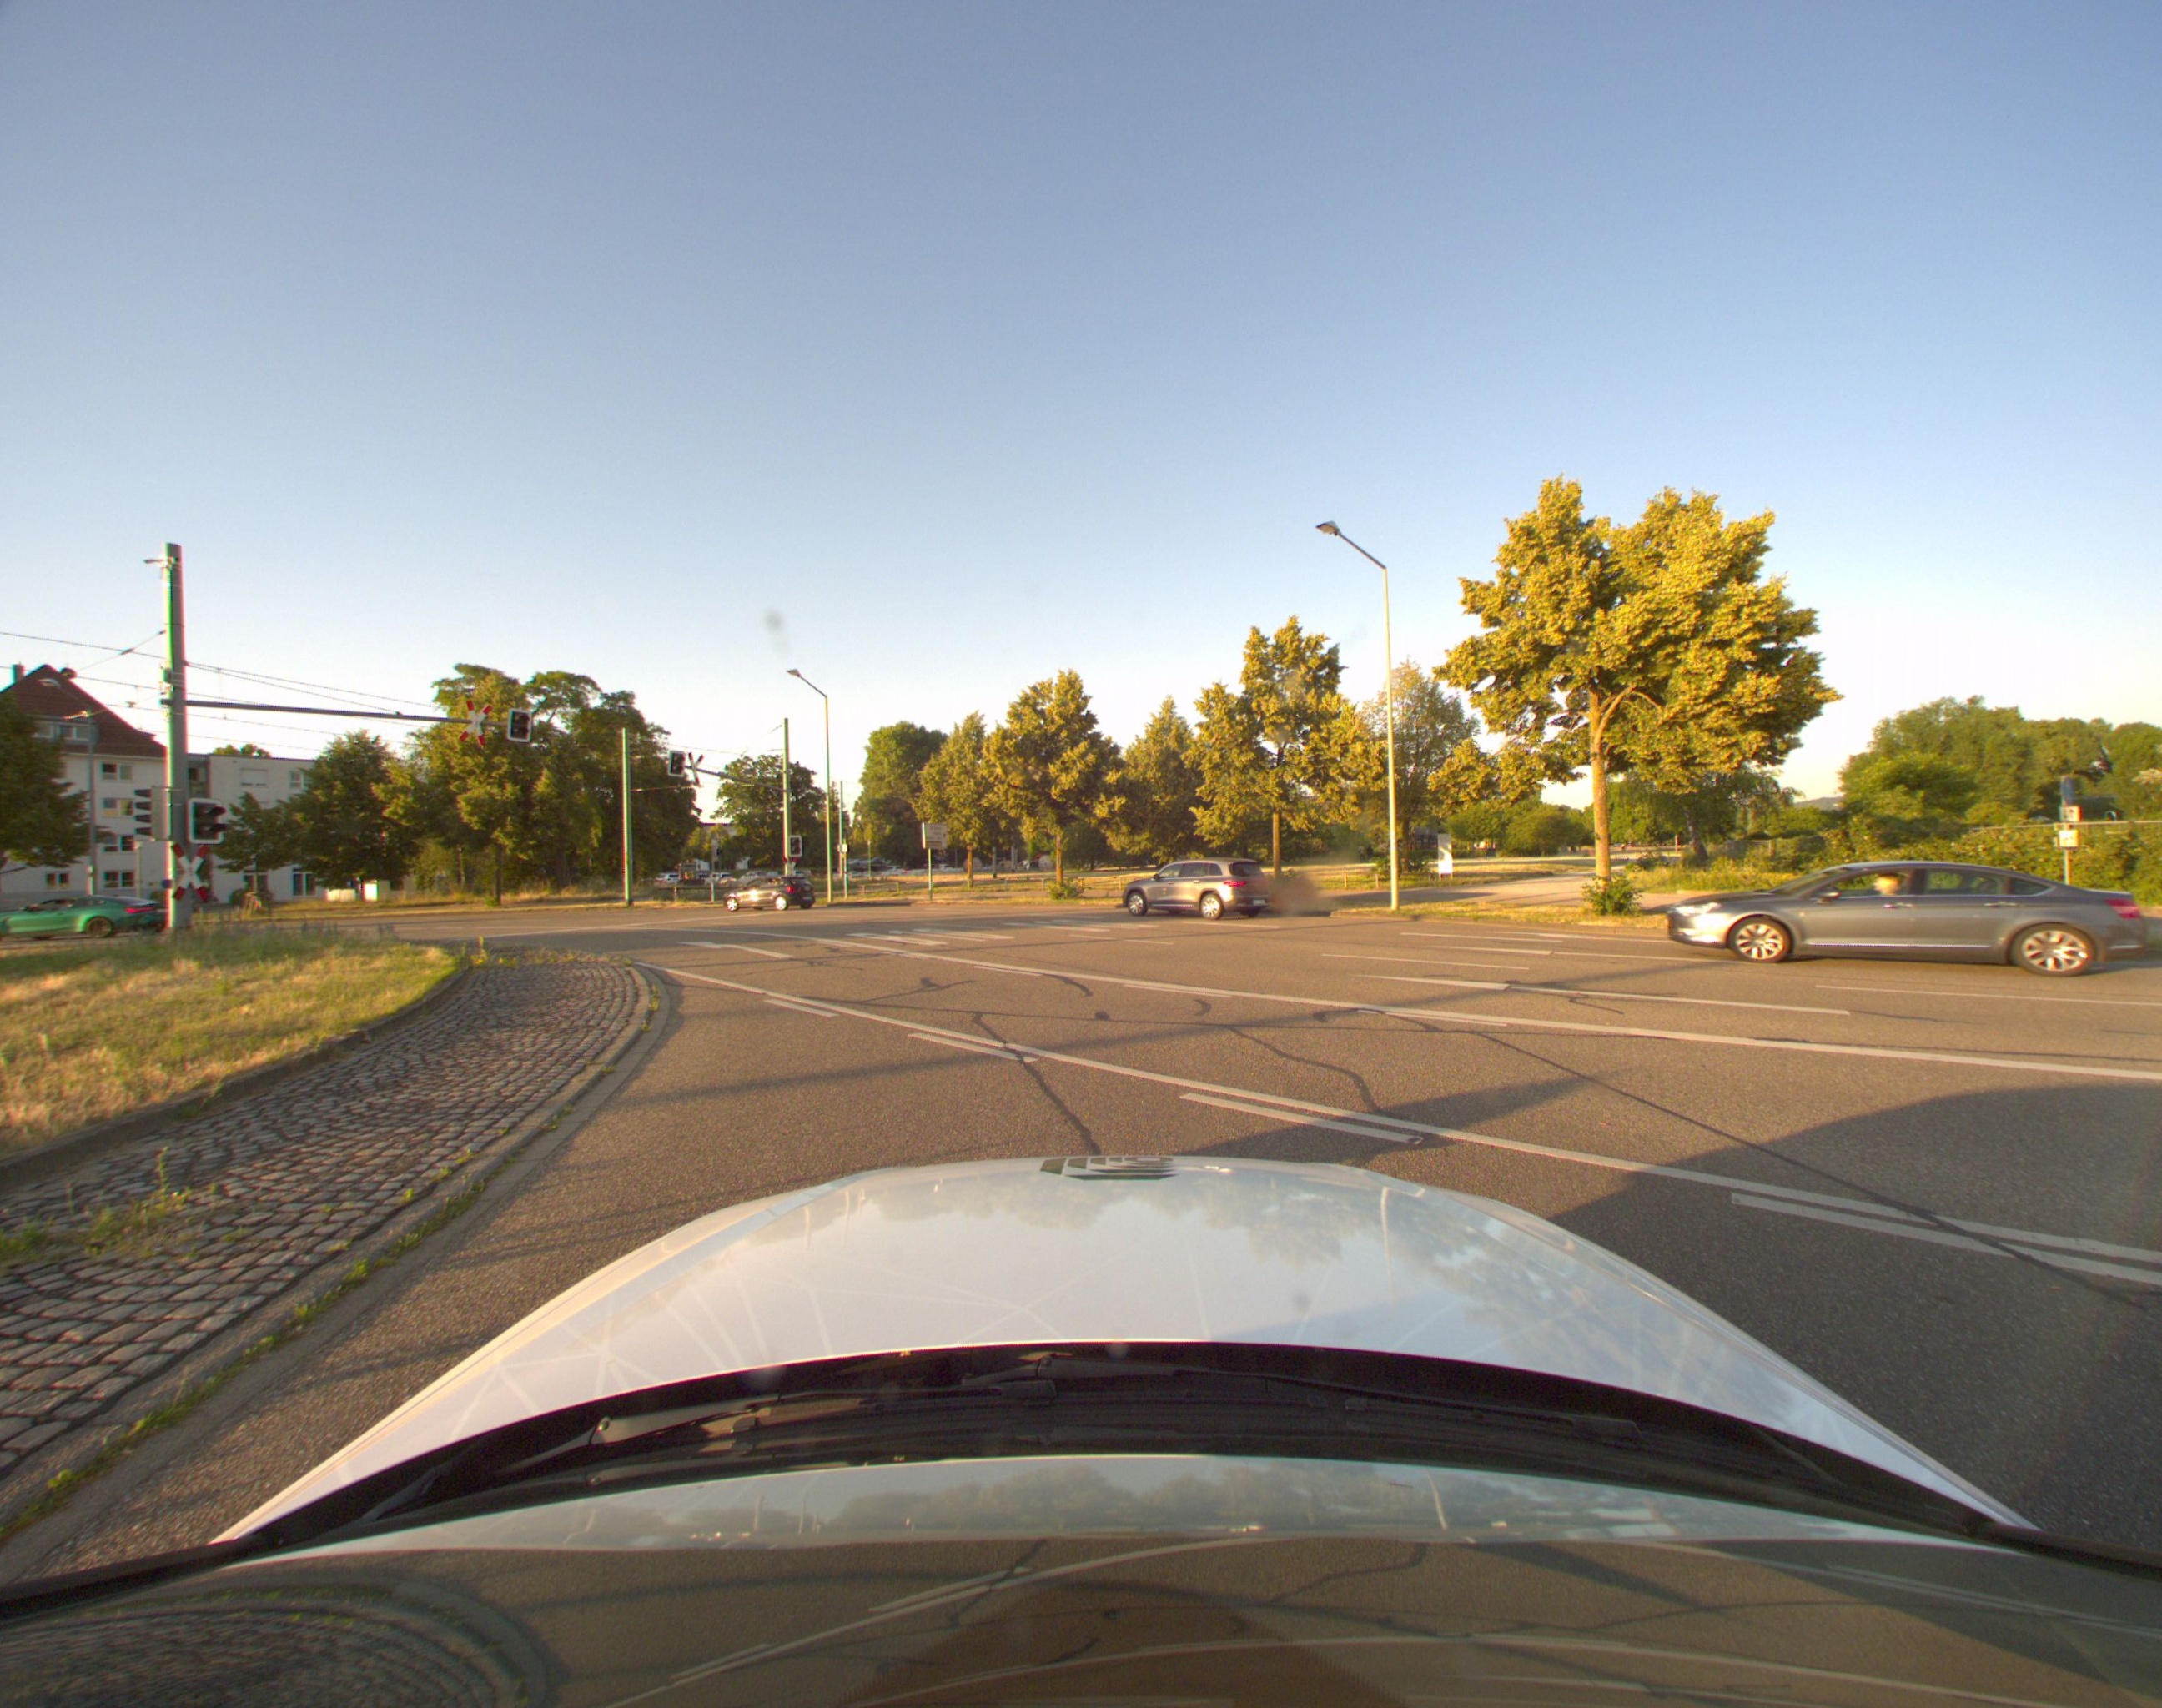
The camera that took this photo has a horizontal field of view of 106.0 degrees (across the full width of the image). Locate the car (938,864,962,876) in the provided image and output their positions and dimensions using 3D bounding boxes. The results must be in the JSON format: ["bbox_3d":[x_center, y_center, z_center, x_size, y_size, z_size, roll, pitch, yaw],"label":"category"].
[{"bbox_3d":[-20.868,2.511,129.978,2.008,1.752,4.549,-1,1,-35],"label":"car"}]

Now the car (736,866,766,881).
[{"bbox_3d":[-47.776,2.755,117.865,4.006,2.013,1.984,-2,0,-24],"label":"car"}]

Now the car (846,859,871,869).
[{"bbox_3d":[-41.780,1.866,153.007,1.974,1.816,4.026,-2,0,37],"label":"car"}]

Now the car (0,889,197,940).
[{"bbox_3d":[-32.148,1.920,26.136,4.728,1.371,1.990,-2,0,-15],"label":"car"}]

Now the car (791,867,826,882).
[{"bbox_3d":[-32.657,2.445,97.597,3.948,1.604,2.013,-2,0,34],"label":"car"}]

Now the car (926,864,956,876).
[{"bbox_3d":[-20.017,2.357,116.471,3.948,1.604,2.013,-2,0,34],"label":"car"}]

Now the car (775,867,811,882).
[{"bbox_3d":[-33.721,2.435,95.417,3.948,1.604,2.013,-2,0,34],"label":"car"}]

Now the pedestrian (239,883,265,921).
[{"bbox_3d":[-42.817,2.470,42.082,0.666,1.893,0.619,0,-1,-4],"label":"pedestrian"}]

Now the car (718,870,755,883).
[{"bbox_3d":[-46.138,2.998,109.130,1.878,1.662,4.026,-2,0,37],"label":"car"}]

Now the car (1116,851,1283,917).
[{"bbox_3d":[3.256,0.813,23.210,2.010,1.637,4.472,-1,0,-40],"label":"car"}]

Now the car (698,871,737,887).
[{"bbox_3d":[-39.042,2.671,87.528,3.948,1.604,2.013,-2,0,34],"label":"car"}]

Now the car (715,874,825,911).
[{"bbox_3d":[-12.681,1.564,33.211,3.954,1.354,1.703,-2,1,19],"label":"car"}]

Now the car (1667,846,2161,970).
[{"bbox_3d":[11.261,0.716,11.600,4.610,1.464,1.898,-2,-2,33],"label":"car"}]

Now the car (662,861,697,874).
[{"bbox_3d":[-65.692,2.213,133.306,1.974,2.013,4.627,-2,0,32],"label":"car"}]

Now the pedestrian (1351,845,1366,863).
[{"bbox_3d":[25.282,-0.036,74.100,1.064,1.617,0.911,-2,0,4],"label":"pedestrian"}]

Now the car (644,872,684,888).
[{"bbox_3d":[-42.672,2.663,83.310,3.948,1.604,2.013,-2,0,34],"label":"car"}]

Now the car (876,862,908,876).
[{"bbox_3d":[-29.405,2.397,126.688,4.578,2.013,1.995,-2,0,-7],"label":"car"}]

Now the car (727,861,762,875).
[{"bbox_3d":[-51.909,2.104,125.787,1.974,2.013,4.627,-2,0,32],"label":"car"}]

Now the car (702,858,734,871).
[{"bbox_3d":[-61.955,1.768,139.045,1.974,2.013,4.628,-2,0,36],"label":"car"}]

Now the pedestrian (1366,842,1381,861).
[{"bbox_3d":[26.215,-0.236,73.034,1.064,1.617,0.911,-2,0,4],"label":"pedestrian"}]

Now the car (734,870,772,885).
[{"bbox_3d":[-37.073,2.693,92.048,3.948,1.604,2.013,-2,0,34],"label":"car"}]

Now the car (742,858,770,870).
[{"bbox_3d":[-57.867,1.783,144.917,1.974,2.013,4.143,-2,0,36],"label":"car"}]

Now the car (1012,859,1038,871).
[{"bbox_3d":[-7.980,1.509,115.254,1.748,1.618,3.954,-1,0,-39],"label":"car"}]

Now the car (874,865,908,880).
[{"bbox_3d":[-27.677,2.667,118.500,4.578,2.013,1.995,-2,0,-7],"label":"car"}]

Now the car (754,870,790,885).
[{"bbox_3d":[-35.529,2.695,93.658,3.948,1.604,2.013,-2,0,34],"label":"car"}]

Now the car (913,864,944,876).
[{"bbox_3d":[-21.492,2.300,114.776,3.948,1.604,2.013,-2,0,34],"label":"car"}]

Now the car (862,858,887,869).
[{"bbox_3d":[-37.990,1.757,150.029,1.975,2.013,4.025,-2,0,42],"label":"car"}]

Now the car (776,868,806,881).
[{"bbox_3d":[-41.325,2.866,115.982,4.001,1.662,1.889,-2,0,-20],"label":"car"}]

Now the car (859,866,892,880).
[{"bbox_3d":[-26.694,2.469,105.976,3.948,1.604,2.013,-2,0,34],"label":"car"}]

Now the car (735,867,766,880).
[{"bbox_3d":[-46.254,2.767,113.929,4.005,1.662,1.984,-2,0,-24],"label":"car"}]

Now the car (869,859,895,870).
[{"bbox_3d":[-35.713,1.868,146.423,3.964,1.706,2.005,-2,0,8],"label":"car"}]
